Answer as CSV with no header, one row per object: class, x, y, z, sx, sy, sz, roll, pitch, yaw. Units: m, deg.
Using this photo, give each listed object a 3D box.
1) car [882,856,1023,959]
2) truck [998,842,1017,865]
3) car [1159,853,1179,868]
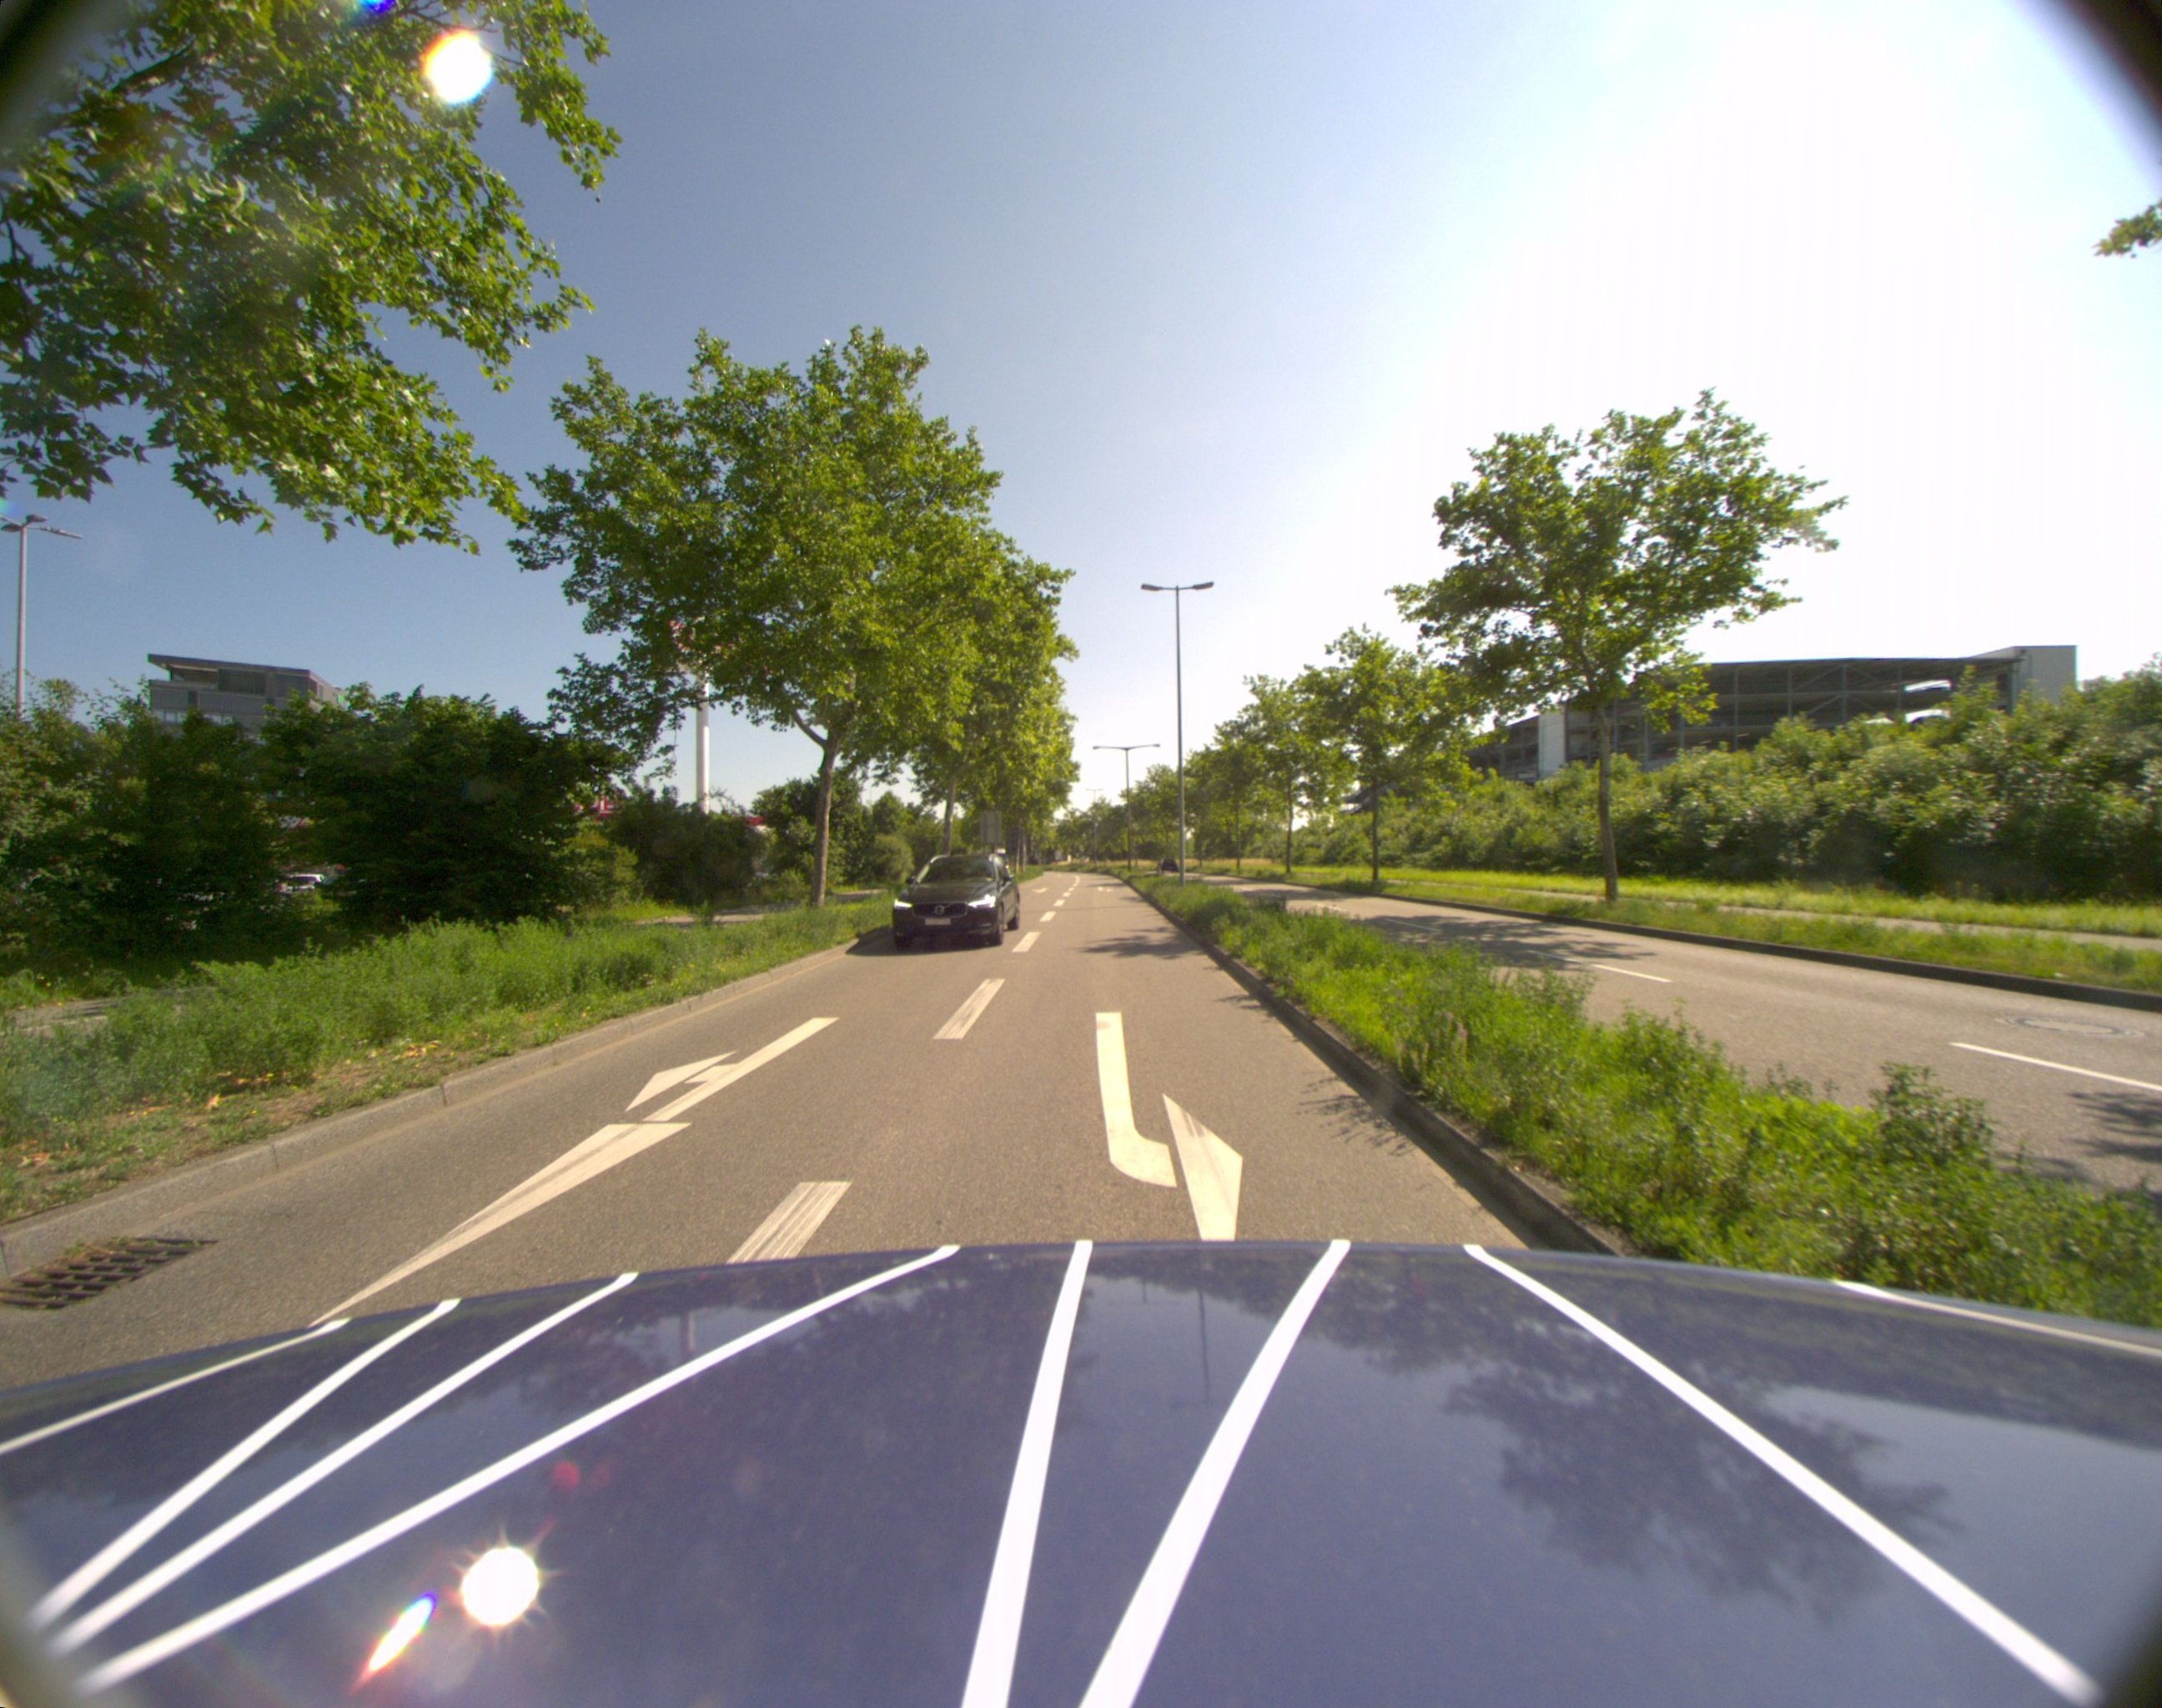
car,-2.312,0.901,14.938,1.924,1.613,4.564,-2,0,0
truck,-13.067,-0.092,135.404,2.744,3.872,5.845,-2,1,-11
car,8.973,0.650,77.904,1.574,1.461,3.927,-2,0,0
